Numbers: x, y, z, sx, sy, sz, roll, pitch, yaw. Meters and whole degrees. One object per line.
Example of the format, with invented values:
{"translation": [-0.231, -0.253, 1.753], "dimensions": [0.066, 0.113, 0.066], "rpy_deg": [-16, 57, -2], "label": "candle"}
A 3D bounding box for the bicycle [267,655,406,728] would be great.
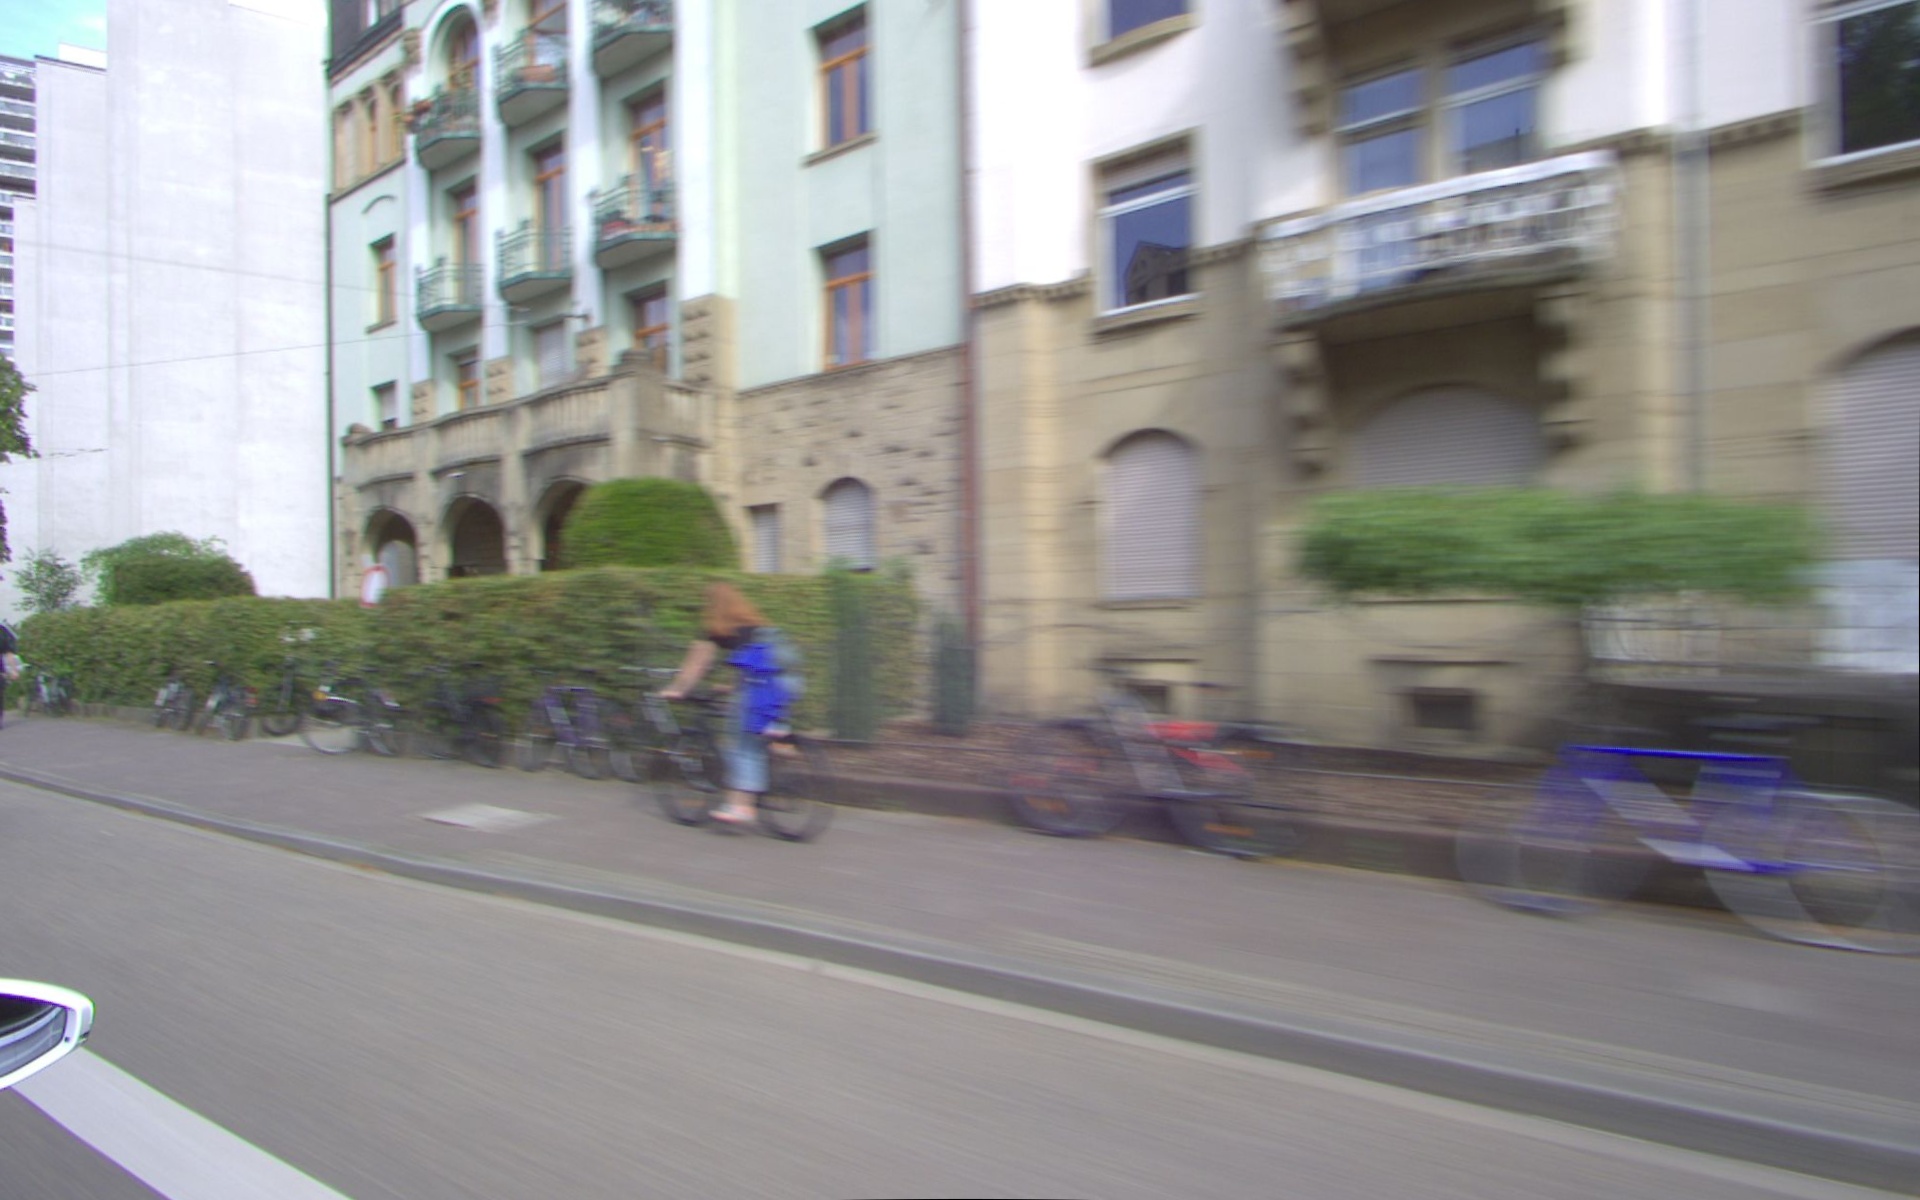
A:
{"translation": [-8.997, 1.299, 14.510], "dimensions": [0.480, 0.919, 1.656], "rpy_deg": [-2, -1, 33], "label": "bicycle"}

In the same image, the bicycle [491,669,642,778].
{"translation": [-3.733, 1.128, 9.452], "dimensions": [1.643, 0.919, 0.484], "rpy_deg": [-2, -1, 35], "label": "bicycle"}

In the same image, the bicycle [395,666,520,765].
{"translation": [-5.231, 1.166, 10.381], "dimensions": [1.644, 0.919, 0.484], "rpy_deg": [-2, -1, 38], "label": "bicycle"}

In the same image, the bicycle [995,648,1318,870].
{"translation": [1.120, 0.878, 6.018], "dimensions": [1.895, 1.157, 0.390], "rpy_deg": [-1, 1, 35], "label": "bicycle"}

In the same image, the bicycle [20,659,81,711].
{"translation": [-16.993, 1.571, 18.694], "dimensions": [1.816, 0.919, 0.385], "rpy_deg": [-2, 0, 33], "label": "bicycle"}

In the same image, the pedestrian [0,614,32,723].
{"translation": [-15.982, 1.130, 16.493], "dimensions": [0.884, 1.756, 0.783], "rpy_deg": [-1, 2, 34], "label": "pedestrian"}

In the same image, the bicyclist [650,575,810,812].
{"translation": [-1.554, 0.593, 6.793], "dimensions": [0.789, 1.490, 0.646], "rpy_deg": [-1, 2, 32], "label": "bicyclist"}

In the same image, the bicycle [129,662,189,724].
{"translation": [-12.664, 1.447, 15.818], "dimensions": [1.645, 0.919, 0.384], "rpy_deg": [-2, -1, 39], "label": "bicycle"}

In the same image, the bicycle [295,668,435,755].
{"translation": [-6.799, 1.259, 11.427], "dimensions": [1.637, 0.919, 0.486], "rpy_deg": [-2, 0, 24], "label": "bicycle"}

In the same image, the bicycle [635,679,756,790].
{"translation": [-2.248, 1.112, 8.457], "dimensions": [1.182, 0.863, 0.277], "rpy_deg": [-2, 0, 35], "label": "bicycle"}

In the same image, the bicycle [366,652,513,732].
{"translation": [-6.872, 1.192, 13.291], "dimensions": [0.482, 0.919, 1.650], "rpy_deg": [-2, -1, 42], "label": "bicycle"}

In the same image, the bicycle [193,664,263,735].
{"translation": [-10.292, 1.371, 14.062], "dimensions": [1.645, 0.919, 0.384], "rpy_deg": [-2, -1, 39], "label": "bicycle"}

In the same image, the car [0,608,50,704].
{"translation": [-24.108, 1.316, 22.999], "dimensions": [2.339, 2.319, 4.959], "rpy_deg": [0, -2, -8], "label": "car"}

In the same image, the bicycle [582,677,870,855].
{"translation": [-1.637, 1.068, 6.866], "dimensions": [2.007, 0.975, 0.687], "rpy_deg": [-1, 1, 32], "label": "bicycle"}

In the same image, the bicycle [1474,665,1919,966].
{"translation": [3.258, 0.867, 4.399], "dimensions": [1.736, 1.117, 0.390], "rpy_deg": [-1, 1, 35], "label": "bicycle"}
